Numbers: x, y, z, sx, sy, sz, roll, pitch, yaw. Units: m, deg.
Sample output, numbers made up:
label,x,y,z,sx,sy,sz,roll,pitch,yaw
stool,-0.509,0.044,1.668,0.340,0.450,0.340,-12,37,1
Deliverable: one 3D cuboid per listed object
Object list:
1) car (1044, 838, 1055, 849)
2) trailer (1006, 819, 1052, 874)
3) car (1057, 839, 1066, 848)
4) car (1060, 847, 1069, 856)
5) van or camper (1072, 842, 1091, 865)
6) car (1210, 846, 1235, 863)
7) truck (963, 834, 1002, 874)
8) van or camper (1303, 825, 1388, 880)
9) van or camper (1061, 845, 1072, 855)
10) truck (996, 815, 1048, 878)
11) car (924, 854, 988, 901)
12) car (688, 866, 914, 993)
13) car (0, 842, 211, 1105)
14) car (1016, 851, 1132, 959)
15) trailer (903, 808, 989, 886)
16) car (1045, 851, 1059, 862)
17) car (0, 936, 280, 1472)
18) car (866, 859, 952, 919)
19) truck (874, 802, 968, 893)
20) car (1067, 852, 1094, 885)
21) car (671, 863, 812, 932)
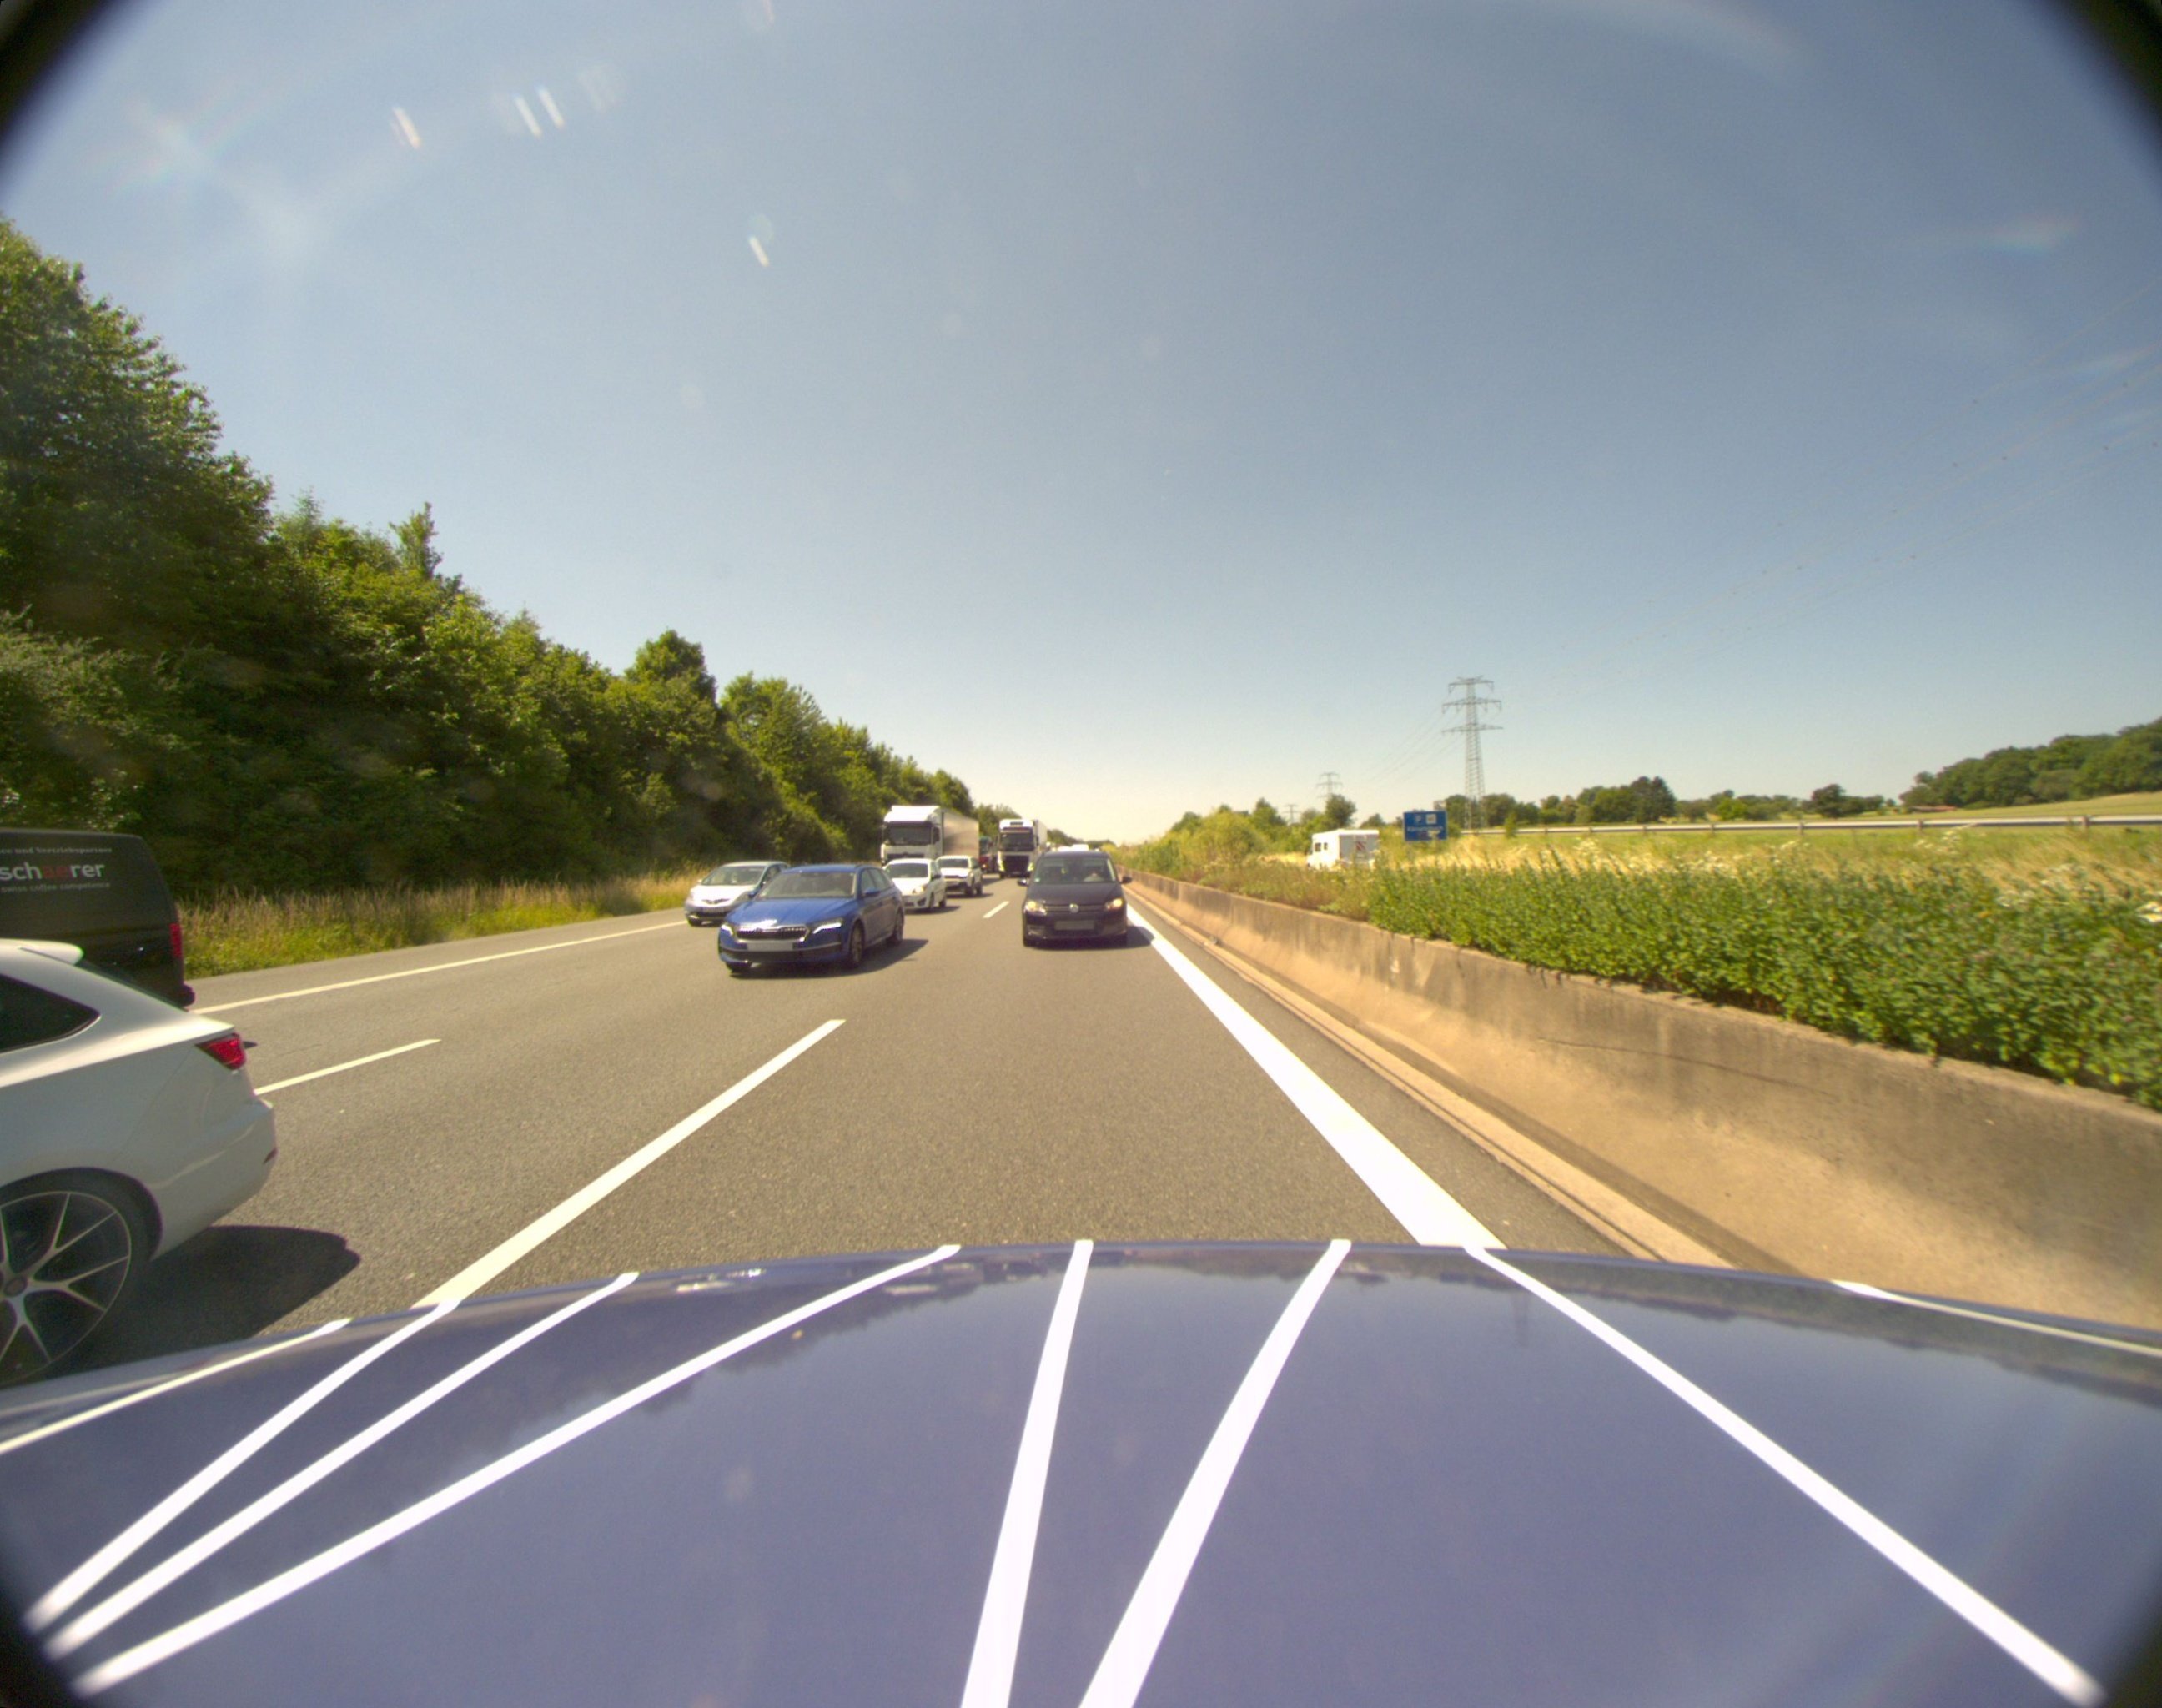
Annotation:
label,x,y,z,sx,sy,sz,roll,pitch,yaw
car,-6.336,-2.076,153.092,1.999,2.002,3.999,-2,1,0
trailer,-3.970,-0.588,60.326,2.776,3.951,9.155,-2,1,1
car,-4.527,-2.546,178.381,1.998,2.002,3.999,-2,1,1
car,-3.213,-0.507,148.069,1.653,1.636,3.999,-2,1,1
van or camper,0.083,-0.061,83.561,1.957,2.368,4.036,-3,1,1
car,11.408,-0.010,61.456,1.415,1.238,3.040,-3,1,1
truck,-8.218,-0.010,63.948,2.300,3.128,5.674,-2,1,1
van or camper,15.440,-0.141,44.921,2.558,2.822,7.065,-3,1,1
van or camper,-3.170,-0.895,166.349,2.190,2.018,4.363,-2,1,1
truck,-4.037,-0.531,53.509,2.750,3.972,8.359,-2,1,1
car,-4.666,0.838,28.818,1.748,1.549,3.883,-1,1,0
car,-3.996,0.979,11.771,1.781,1.408,4.571,-1,1,0
car,-8.923,0.926,4.479,1.918,1.929,4.855,-2,1,0
car,-0.109,0.779,14.443,1.758,1.571,5.290,-2,1,0
trailer,-7.970,-0.449,46.908,2.880,4.133,12.074,-2,1,1
car,-3.863,0.268,100.422,1.650,1.336,3.381,-2,1,1
car,-3.967,1.092,0.738,1.752,1.435,4.312,-2,1,0
car,-4.738,0.904,21.444,1.609,1.426,3.808,-1,1,-1
truck,-8.085,-0.363,39.737,2.880,4.133,8.474,-2,1,1
car,0.006,0.777,41.990,1.357,1.630,2.993,-3,1,1
car,-8.278,1.004,18.951,1.666,1.453,3.922,-1,0,1
